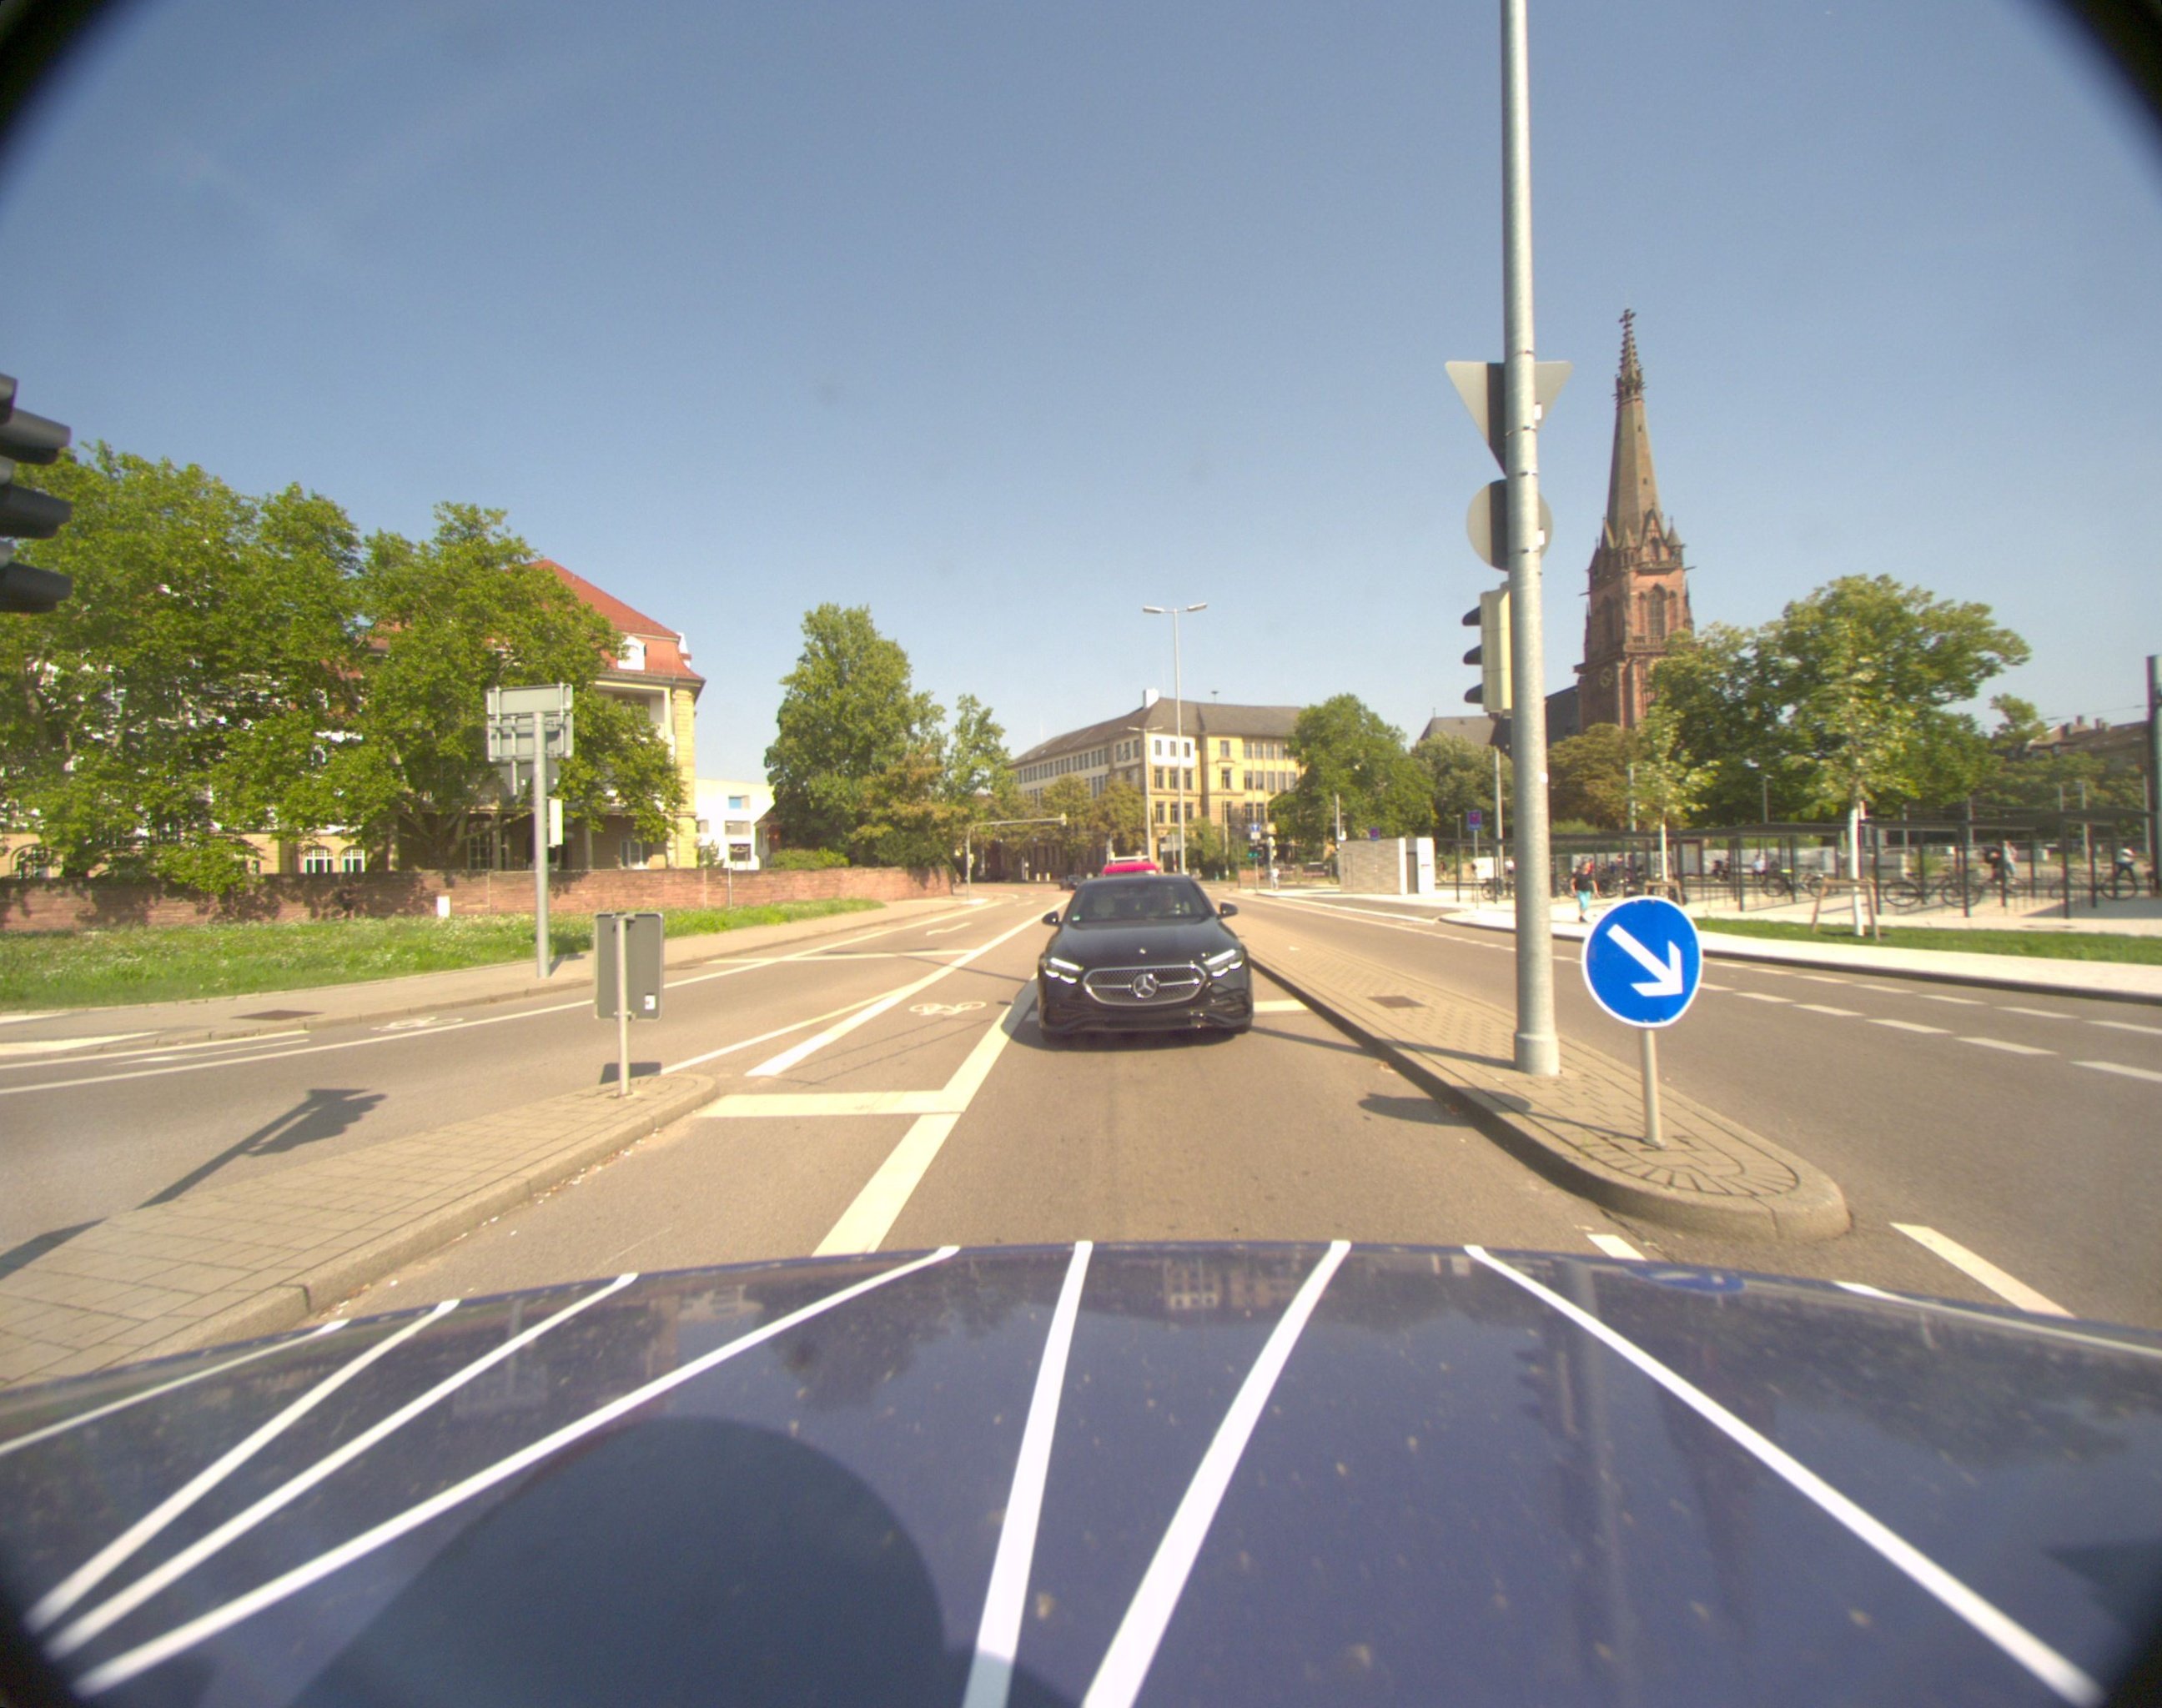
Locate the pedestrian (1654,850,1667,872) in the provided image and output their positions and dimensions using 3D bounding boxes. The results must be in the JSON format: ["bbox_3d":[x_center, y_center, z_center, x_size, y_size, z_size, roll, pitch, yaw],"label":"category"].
[{"bbox_3d":[33.088,0.395,43.372,0.440,1.217,0.382,-4,0,-30],"label":"pedestrian"}]

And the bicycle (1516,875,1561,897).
[{"bbox_3d":[19.130,1.341,31.808,0.410,0.887,1.585,-1,-1,-31],"label":"bicycle"}]

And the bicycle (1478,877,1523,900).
[{"bbox_3d":[16.916,1.372,30.674,0.402,0.887,1.585,-1,-1,-31],"label":"bicycle"}]

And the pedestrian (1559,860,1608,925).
[{"bbox_3d":[12.203,0.924,18.462,0.754,1.555,0.666,0,0,-14],"label":"pedestrian"}]

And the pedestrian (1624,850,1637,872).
[{"bbox_3d":[32.045,0.416,44.306,0.440,1.217,0.382,-4,0,-30],"label":"pedestrian"}]

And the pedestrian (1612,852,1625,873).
[{"bbox_3d":[31.804,0.502,44.973,0.440,1.217,0.382,-4,0,-30],"label":"pedestrian"}]

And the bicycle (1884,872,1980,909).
[{"bbox_3d":[24.045,1.020,21.509,0.402,1.003,1.742,-1,-1,-31],"label":"bicycle"}]

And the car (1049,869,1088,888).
[{"bbox_3d":[-1.185,2.264,70.068,2.002,1.600,4.239,-4,-1,-24],"label":"car"}]

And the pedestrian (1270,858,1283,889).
[{"bbox_3d":[12.534,1.255,48.715,0.732,2.001,0.715,-2,0,10],"label":"pedestrian"}]

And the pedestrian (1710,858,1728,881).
[{"bbox_3d":[33.301,0.813,39.676,0.468,1.190,0.573,-1,0,-30],"label":"pedestrian"}]

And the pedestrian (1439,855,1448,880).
[{"bbox_3d":[24.761,0.904,51.842,0.517,1.697,0.504,-1,1,27],"label":"pedestrian"}]

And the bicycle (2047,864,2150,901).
[{"bbox_3d":[29.456,0.817,22.029,0.475,1.014,1.740,-1,-1,-32],"label":"bicycle"}]

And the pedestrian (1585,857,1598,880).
[{"bbox_3d":[30.708,0.880,45.729,0.394,1.310,0.414,-4,0,-26],"label":"pedestrian"}]

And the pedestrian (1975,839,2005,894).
[{"bbox_3d":[30.247,0.417,25.285,0.334,1.790,0.591,-1,0,-36],"label":"pedestrian"}]

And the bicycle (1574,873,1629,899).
[{"bbox_3d":[20.335,1.241,29.723,0.534,0.981,1.710,-1,-1,-31],"label":"bicycle"}]

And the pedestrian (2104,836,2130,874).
[{"bbox_3d":[39.809,0.037,29.207,0.569,1.413,0.468,-4,0,-29],"label":"pedestrian"}]

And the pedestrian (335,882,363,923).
[{"bbox_3d":[-31.184,2.065,32.379,0.719,1.673,0.593,-1,0,-28],"label":"pedestrian"}]

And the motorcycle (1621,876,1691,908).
[{"bbox_3d":[18.930,1.244,25.059,0.544,1.003,1.742,-1,-1,-31],"label":"motorcycle"}]

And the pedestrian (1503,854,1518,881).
[{"bbox_3d":[27.478,0.849,48.647,0.716,1.738,0.389,-1,0,1],"label":"pedestrian"}]

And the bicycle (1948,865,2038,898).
[{"bbox_3d":[28.639,0.848,23.890,0.402,1.003,1.742,-1,-1,-31],"label":"bicycle"}]

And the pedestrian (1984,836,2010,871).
[{"bbox_3d":[38.584,-0.007,32.003,0.470,1.413,0.568,-4,0,-30],"label":"pedestrian"}]

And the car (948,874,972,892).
[{"bbox_3d":[-14.758,3.531,92.622,2.001,2.119,4.241,-4,-1,-19],"label":"car"}]

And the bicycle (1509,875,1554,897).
[{"bbox_3d":[18.663,1.320,31.488,0.402,0.887,1.585,-1,-1,-31],"label":"bicycle"}]

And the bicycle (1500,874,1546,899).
[{"bbox_3d":[18.072,1.323,31.109,0.422,0.961,1.585,-1,-1,-31],"label":"bicycle"}]

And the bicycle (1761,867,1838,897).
[{"bbox_3d":[25.179,0.988,26.661,0.462,1.003,1.871,-1,-1,-31],"label":"bicycle"}]

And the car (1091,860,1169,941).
[{"bbox_3d":[1.343,1.102,19.504,1.735,1.808,4.280,-2,-1,6],"label":"car"}]

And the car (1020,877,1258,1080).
[{"bbox_3d":[0.640,1.057,8.371,1.824,1.431,4.876,-1,0,5],"label":"car"}]

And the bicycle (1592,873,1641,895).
[{"bbox_3d":[22.111,1.229,31.406,0.410,0.887,1.585,-1,-1,-31],"label":"bicycle"}]

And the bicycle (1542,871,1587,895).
[{"bbox_3d":[21.057,1.252,33.132,0.453,0.972,1.585,-3,0,-31],"label":"bicycle"}]

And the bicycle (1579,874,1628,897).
[{"bbox_3d":[20.985,1.272,30.547,0.410,0.887,1.585,-1,-1,-31],"label":"bicycle"}]

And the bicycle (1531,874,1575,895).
[{"bbox_3d":[20.164,1.304,32.482,0.402,0.887,1.585,-1,-1,-31],"label":"bicycle"}]

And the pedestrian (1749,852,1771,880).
[{"bbox_3d":[34.095,0.609,38.173,0.663,1.386,0.642,-1,0,-33],"label":"pedestrian"}]

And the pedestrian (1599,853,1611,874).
[{"bbox_3d":[31.173,0.549,45.197,0.440,1.217,0.382,-4,0,-30],"label":"pedestrian"}]
